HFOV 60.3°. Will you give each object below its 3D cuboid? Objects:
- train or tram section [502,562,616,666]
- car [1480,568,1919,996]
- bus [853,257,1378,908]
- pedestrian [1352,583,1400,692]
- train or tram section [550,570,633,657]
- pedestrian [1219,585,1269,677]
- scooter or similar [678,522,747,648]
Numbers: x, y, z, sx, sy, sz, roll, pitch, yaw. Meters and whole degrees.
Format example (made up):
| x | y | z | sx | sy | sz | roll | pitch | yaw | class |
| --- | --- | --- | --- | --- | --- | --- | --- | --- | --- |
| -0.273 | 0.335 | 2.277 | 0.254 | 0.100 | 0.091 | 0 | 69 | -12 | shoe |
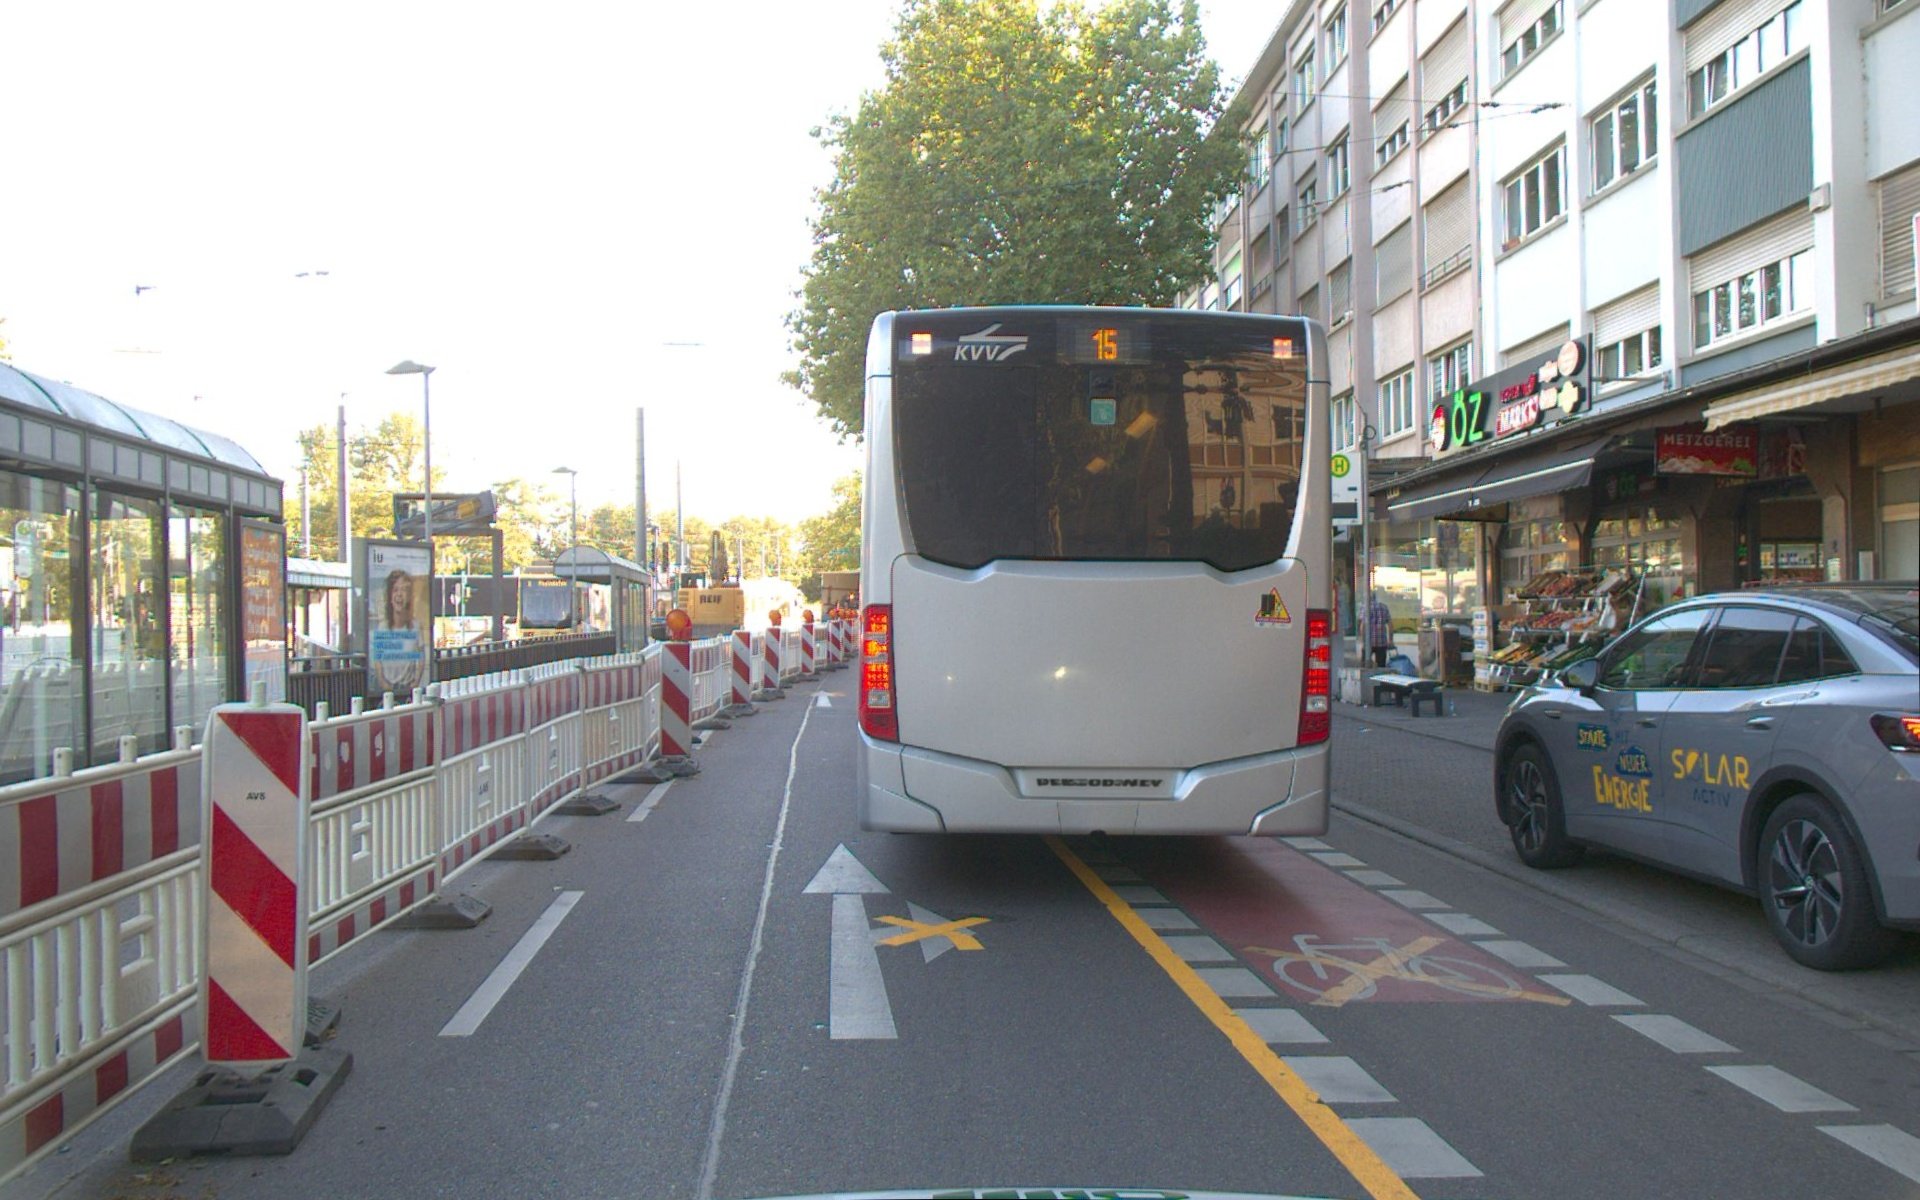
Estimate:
| x | y | z | sx | sy | sz | roll | pitch | yaw | class |
| --- | --- | --- | --- | --- | --- | --- | --- | --- | --- |
| -15.305 | 0.557 | 64.008 | 2.634 | 3.596 | 11.756 | 1 | -1 | -6 | train or tram section |
| 4.463 | 0.672 | 8.309 | 1.955 | 1.609 | 4.364 | -3 | 0 | -5 | car |
| 0.747 | -0.050 | 12.204 | 2.558 | 3.181 | 7.991 | 1 | -1 | -1 | bus |
| 6.634 | 0.599 | 26.350 | 0.649 | 1.696 | 0.601 | -3 | -1 | 16 | pedestrian |
| -16.685 | 0.627 | 75.596 | 2.636 | 3.621 | 11.561 | 1 | -1 | -8 | train or tram section |
| 5.353 | 0.583 | 31.191 | 0.859 | 1.720 | 0.620 | -1 | 0 | 14 | pedestrian |
| -9.350 | -0.534 | 62.856 | 2.422 | 4.549 | 5.962 | -1 | -1 | -8 | scooter or similar |
